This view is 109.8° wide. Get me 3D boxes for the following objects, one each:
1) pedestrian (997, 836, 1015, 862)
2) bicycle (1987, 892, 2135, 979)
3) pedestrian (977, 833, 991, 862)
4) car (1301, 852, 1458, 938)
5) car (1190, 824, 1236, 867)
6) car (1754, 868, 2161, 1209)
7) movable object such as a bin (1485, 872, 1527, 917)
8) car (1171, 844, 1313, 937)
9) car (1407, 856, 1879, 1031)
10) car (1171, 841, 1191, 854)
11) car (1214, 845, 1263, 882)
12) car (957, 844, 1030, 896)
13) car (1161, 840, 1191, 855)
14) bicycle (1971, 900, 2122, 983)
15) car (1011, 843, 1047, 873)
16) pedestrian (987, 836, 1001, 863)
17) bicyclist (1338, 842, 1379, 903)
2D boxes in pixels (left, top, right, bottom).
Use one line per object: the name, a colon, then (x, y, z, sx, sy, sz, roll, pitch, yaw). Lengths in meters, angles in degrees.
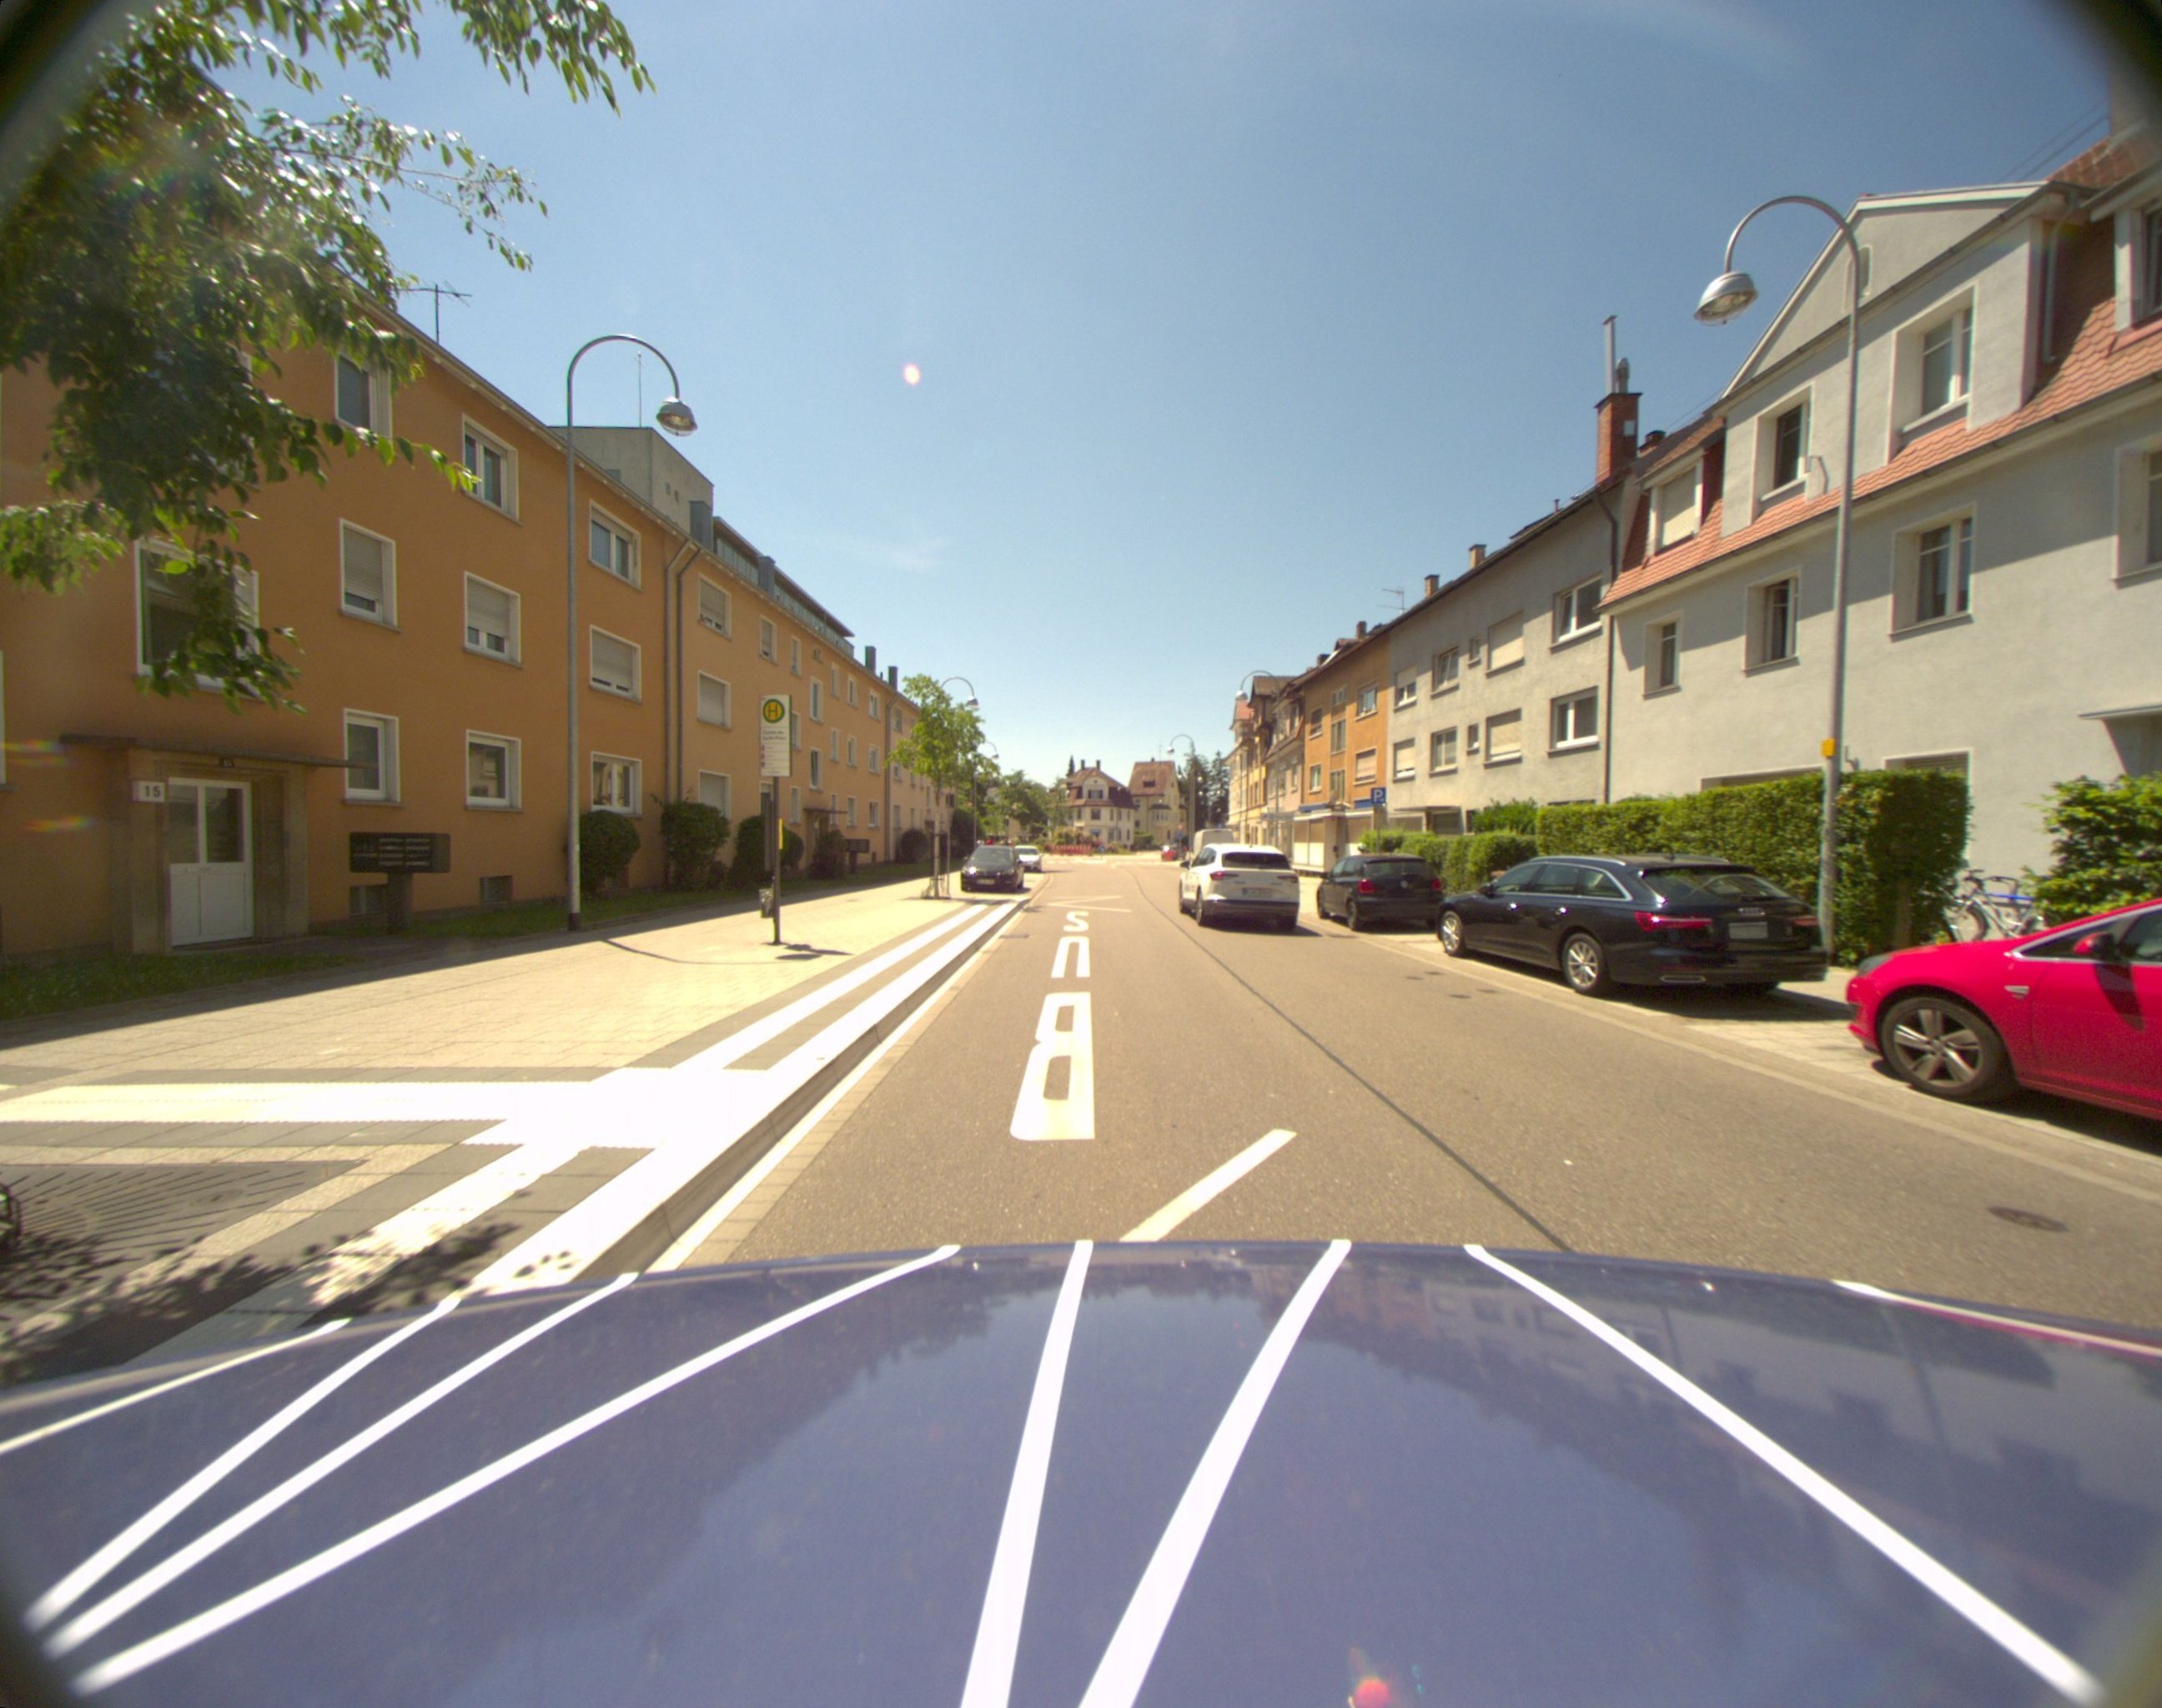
pedestrian: (-5.190, -0.365, 52.718, 1.174, 1.723, 1.190, 3, 2, -4)
bicycle: (11.955, 0.967, 9.317, 0.233, 0.902, 1.163, 0, 3, -1)
pedestrian: (-6.264, -0.441, 48.986, 0.822, 1.843, 0.984, 1, 1, -3)
car: (5.884, 0.719, 15.520, 1.791, 1.451, 4.198, -2, 0, 4)
car: (8.102, -0.563, 47.118, 2.124, 2.435, 6.118, -1, 1, 4)
car: (6.034, 0.914, 3.398, 1.882, 1.471, 4.737, -2, 1, 1)
movable object such as a bin: (9.175, 0.860, 16.421, 0.495, 0.906, 0.706, 1, 1, 0)
car: (3.126, 0.615, 15.692, 1.882, 1.588, 4.358, 2, 1, -1)
car: (6.070, 0.789, 9.317, 1.868, 1.453, 5.306, -1, 0, 0)
car: (12.540, -0.878, 95.608, 1.800, 1.481, 4.388, -1, 2, -1)
car: (7.372, 0.409, 36.010, 2.089, 1.605, 5.112, 0, 1, 10)
car: (-2.868, 0.474, 25.934, 1.838, 1.495, 5.062, 3, 1, 0)
car: (9.854, -0.692, 78.572, 1.732, 1.403, 4.008, 3, 1, 27)
bicycle: (11.783, 1.042, 9.318, 0.293, 0.849, 1.169, 0, 3, -1)
car: (-2.893, 0.180, 42.492, 1.818, 1.468, 4.504, 2, 2, -4)
pedestrian: (-6.004, -0.320, 52.335, 0.790, 1.801, 1.005, 3, 1, -3)
bicyclist: (7.716, 0.486, 21.127, 0.784, 1.650, 0.835, 1, 2, -1)
